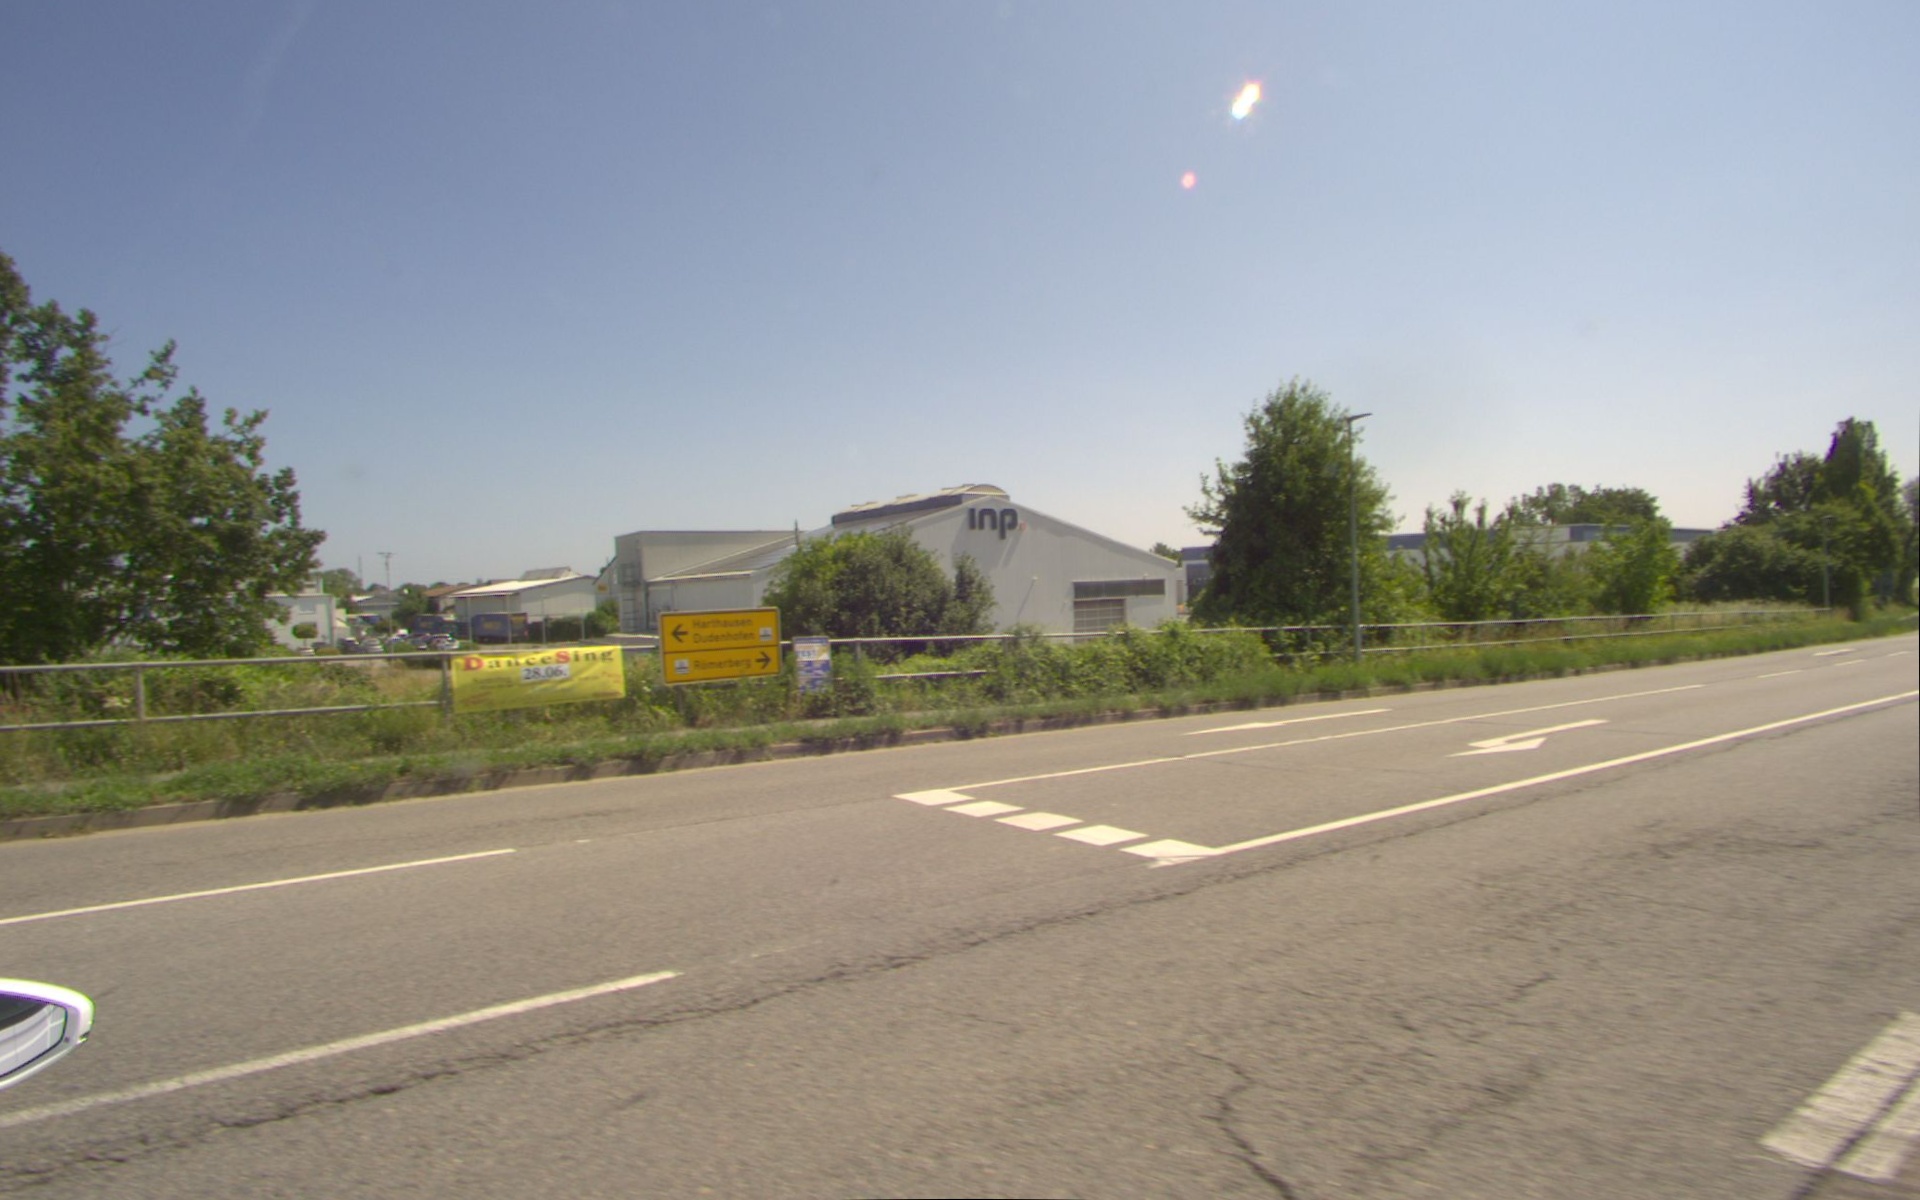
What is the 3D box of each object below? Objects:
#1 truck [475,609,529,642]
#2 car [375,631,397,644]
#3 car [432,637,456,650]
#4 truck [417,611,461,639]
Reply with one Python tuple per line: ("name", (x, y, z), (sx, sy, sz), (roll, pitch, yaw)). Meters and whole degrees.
("truck", (-62.948, 3.468, 137.493), (3.677, 4.367, 13.237), (-1, 0, -38))
("car", (-83.131, 5.369, 144.989), (1.978, 1.753, 4.821), (0, -1, -41))
("car", (-61.075, 5.170, 118.486), (1.669, 1.381, 3.804), (-4, 2, -40))
("truck", (-85.232, 4.105, 163.574), (3.384, 4.367, 14.473), (-1, 0, -39))
